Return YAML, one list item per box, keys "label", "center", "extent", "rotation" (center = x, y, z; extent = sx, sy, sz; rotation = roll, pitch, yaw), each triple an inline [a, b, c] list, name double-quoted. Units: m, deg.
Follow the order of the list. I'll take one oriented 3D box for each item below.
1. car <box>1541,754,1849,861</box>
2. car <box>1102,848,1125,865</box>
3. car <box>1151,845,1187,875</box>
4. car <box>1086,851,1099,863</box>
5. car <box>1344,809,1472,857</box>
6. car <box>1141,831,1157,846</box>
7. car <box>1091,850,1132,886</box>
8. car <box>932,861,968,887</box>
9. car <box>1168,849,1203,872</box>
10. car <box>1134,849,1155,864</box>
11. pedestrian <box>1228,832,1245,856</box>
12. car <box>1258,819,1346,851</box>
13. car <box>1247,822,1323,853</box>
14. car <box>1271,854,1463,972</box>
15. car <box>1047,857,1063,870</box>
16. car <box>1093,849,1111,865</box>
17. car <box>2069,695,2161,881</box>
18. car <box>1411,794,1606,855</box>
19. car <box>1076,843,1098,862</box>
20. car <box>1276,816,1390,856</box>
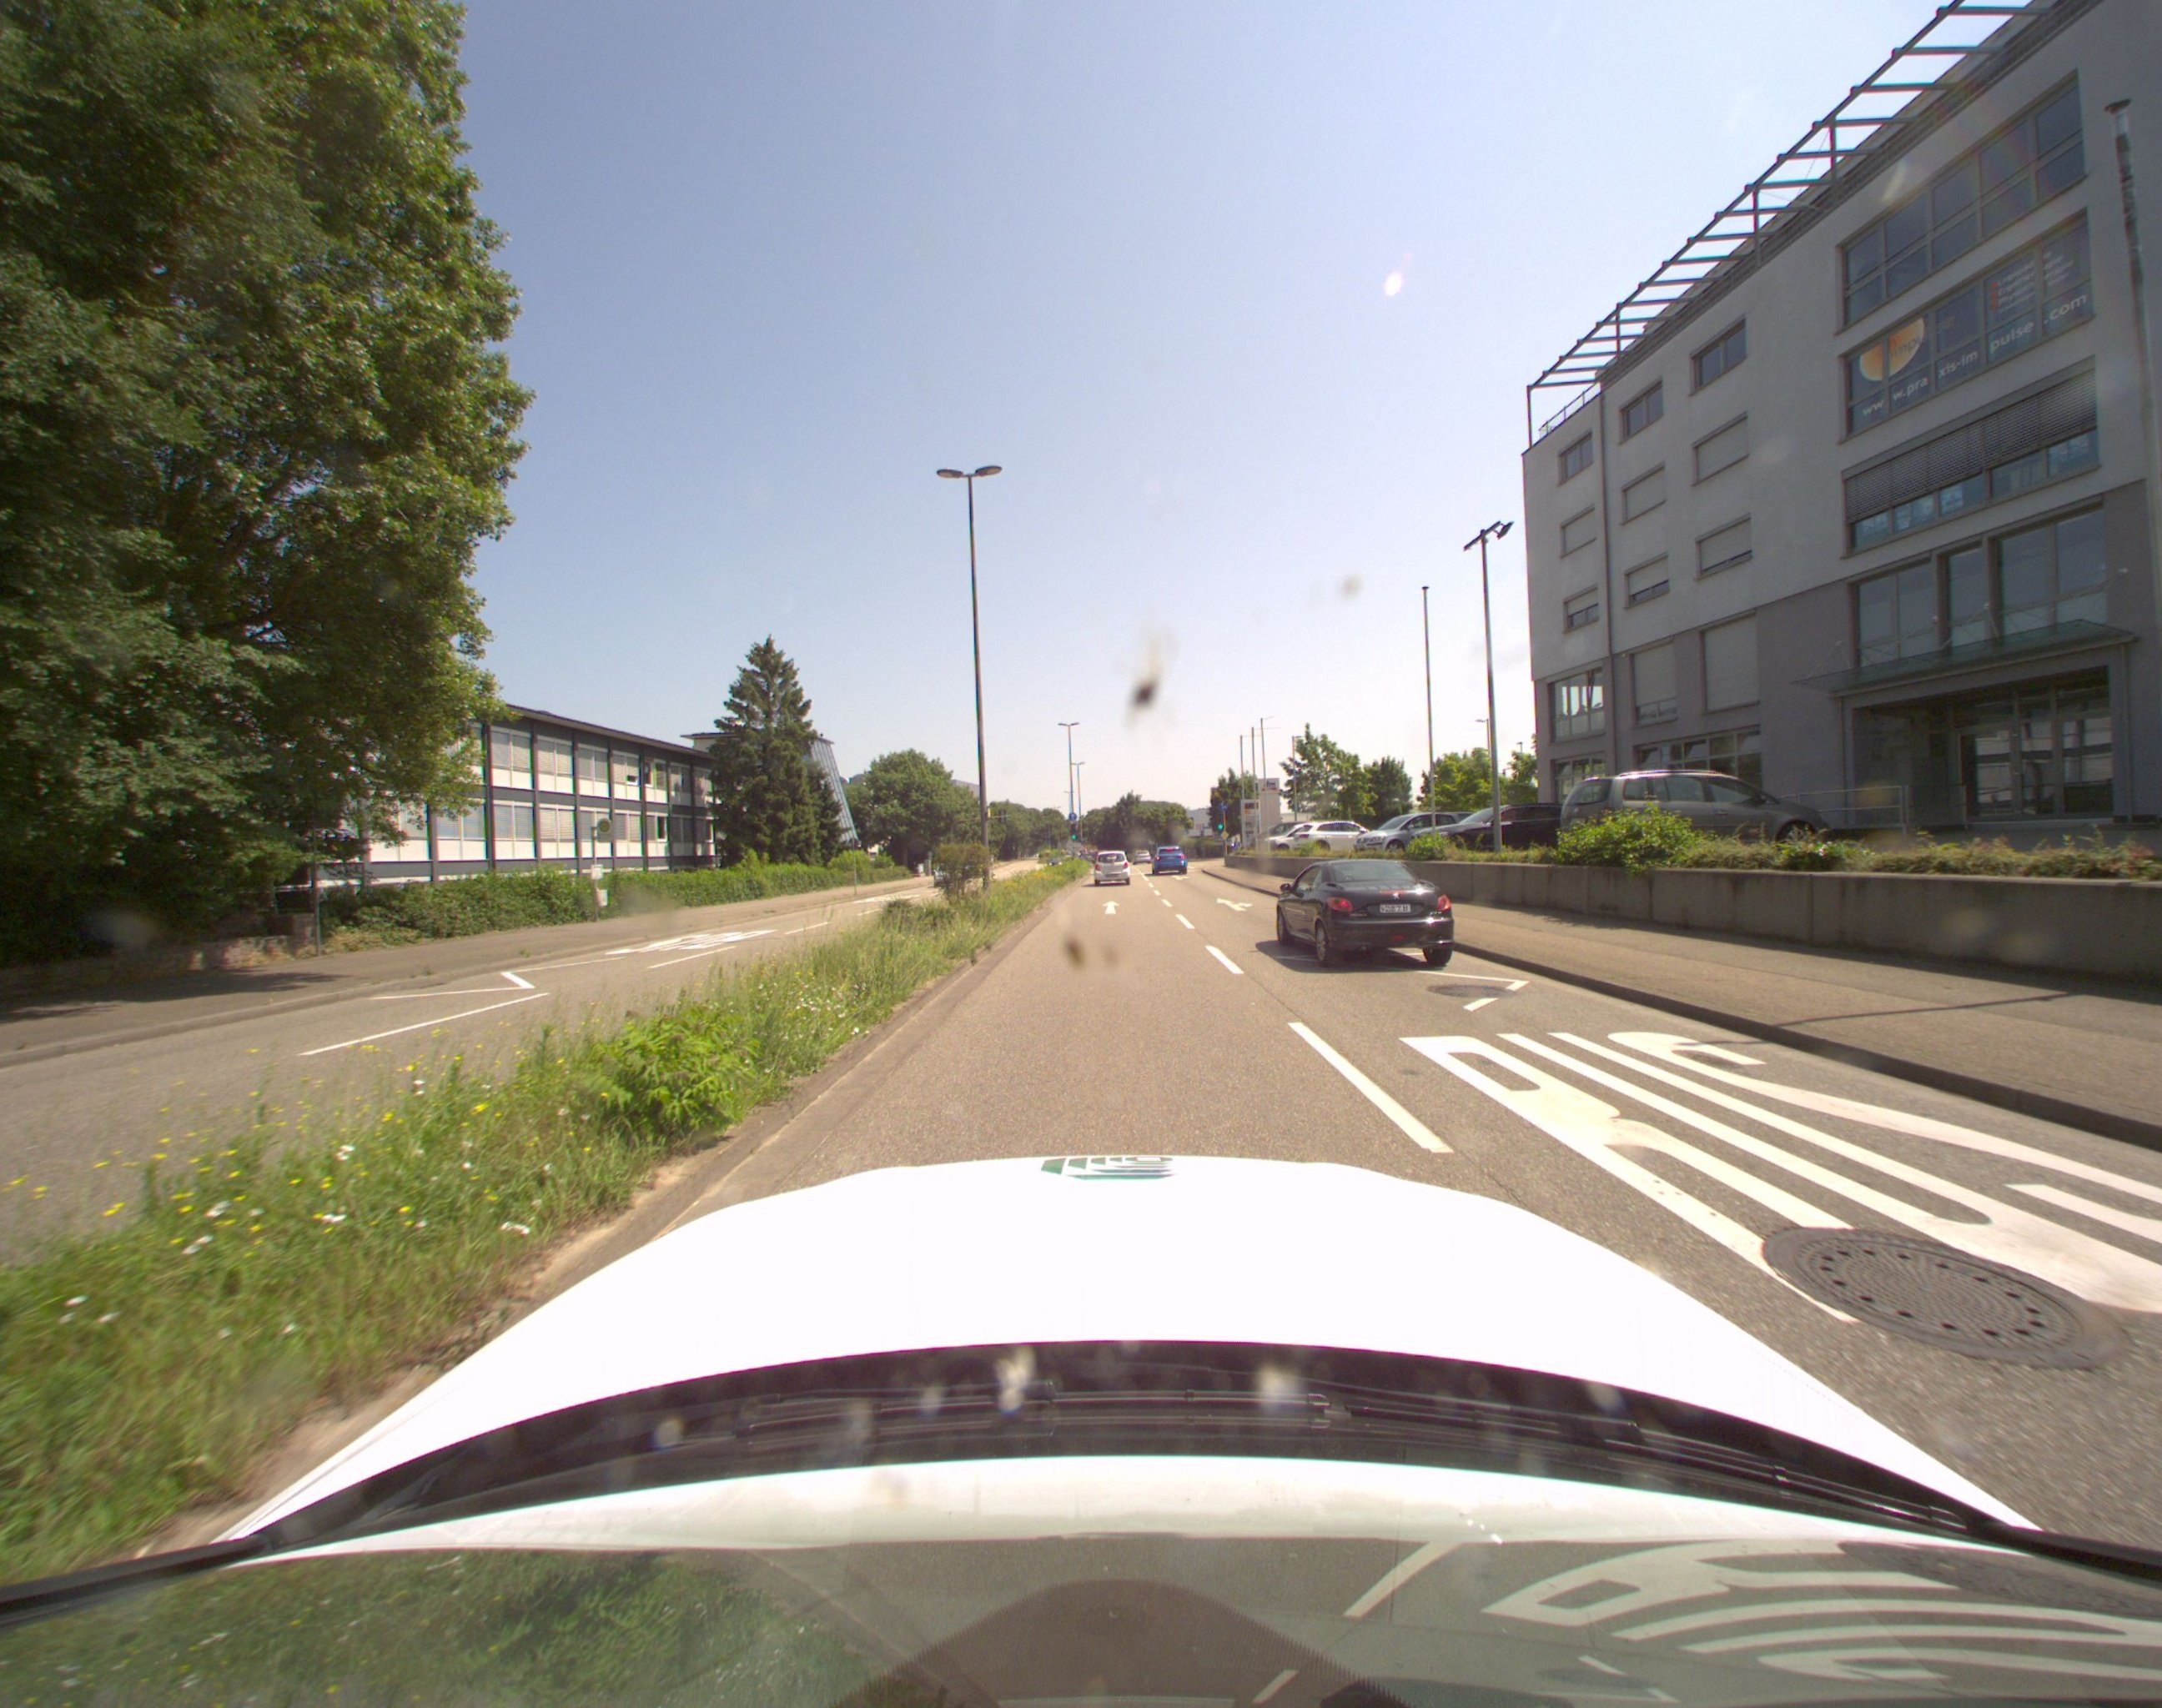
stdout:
- label: "car"
  center: [11.328, -0.812, 15.275]
  extent: [4.213, 1.647, 2.000]
  rotation: [-3, 0, 0]
- label: "car"
  center: [3.098, 0.239, 78.592]
  extent: [1.987, 1.442, 4.000]
  rotation: [-3, 0, 1]
- label: "car"
  center: [5.014, 0.313, 46.737]
  extent: [1.820, 1.580, 3.608]
  rotation: [-2, 1, 3]
- label: "car"
  center: [1.658, 0.411, 118.850]
  extent: [1.791, 1.690, 4.001]
  rotation: [-3, 0, 1]
- label: "car"
  center: [11.568, -0.729, 28.864]
  extent: [3.931, 1.452, 1.755]
  rotation: [-3, 0, -17]
- label: "car"
  center: [9.745, -2.232, 116.919]
  extent: [1.765, 2.013, 3.988]
  rotation: [-3, 1, -2]
- label: "car"
  center: [1.423, 0.601, 37.504]
  extent: [1.741, 1.520, 3.748]
  rotation: [-1, 1, 3]
- label: "car"
  center: [-8.132, 1.208, 50.829]
  extent: [1.732, 1.413, 4.366]
  rotation: [-3, 0, -3]
- label: "car"
  center: [6.999, 0.415, 54.431]
  extent: [1.446, 1.376, 3.510]
  rotation: [-3, 0, 21]
- label: "car"
  center: [6.632, 0.281, 85.348]
  extent: [1.986, 1.420, 4.001]
  rotation: [-3, 0, 1]
- label: "pedestrian"
  center: [10.928, -0.723, 57.258]
  extent: [0.767, 1.608, 1.092]
  rotation: [-3, 0, 29]
- label: "car"
  center: [12.349, -1.040, 45.613]
  extent: [4.334, 1.544, 1.999]
  rotation: [-3, 0, -1]
- label: "car"
  center: [12.071, -0.973, 48.443]
  extent: [3.975, 1.544, 1.999]
  rotation: [-3, 0, -1]
- label: "car"
  center: [3.907, 0.717, 11.737]
  extent: [1.621, 1.364, 3.607]
  rotation: [-1, 1, 2]
- label: "car"
  center: [-2.780, 0.995, 87.895]
  extent: [1.571, 1.269, 3.725]
  rotation: [-3, 0, -4]
- label: "car"
  center: [2.401, 0.387, 94.978]
  extent: [1.771, 1.740, 3.997]
  rotation: [-3, 0, -2]
- label: "car"
  center: [11.407, -0.683, 6.534]
  extent: [4.484, 1.583, 2.000]
  rotation: [-3, 0, 0]
- label: "car"
  center: [11.743, -0.777, 22.587]
  extent: [4.307, 1.369, 1.999]
  rotation: [-3, 0, -1]
- label: "car"
  center: [0.585, -0.133, 77.682]
  extent: [1.815, 1.661, 3.996]
  rotation: [-3, 1, -3]
- label: "car"
  center: [11.421, -0.804, 37.112]
  extent: [4.519, 1.544, 2.000]
  rotation: [-3, 0, 0]
